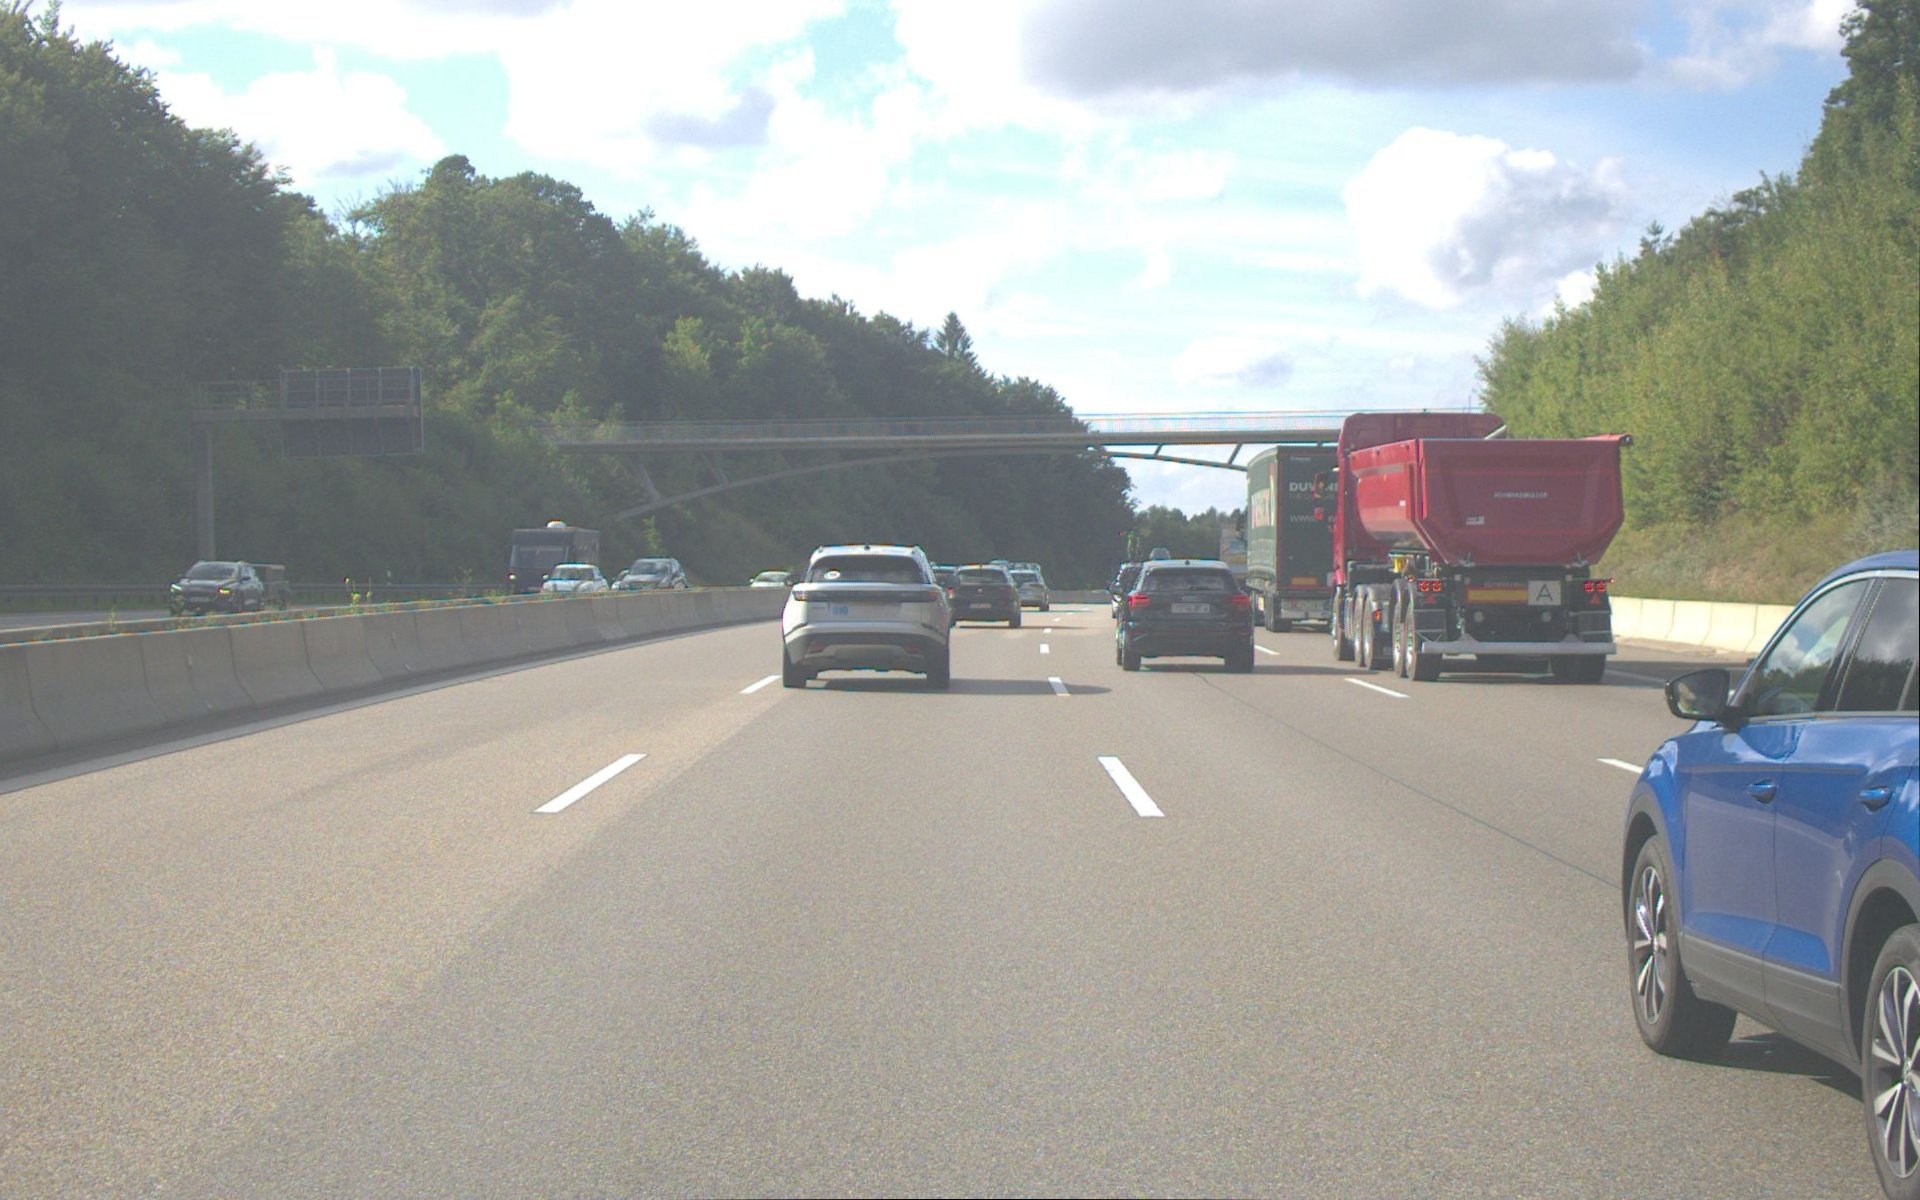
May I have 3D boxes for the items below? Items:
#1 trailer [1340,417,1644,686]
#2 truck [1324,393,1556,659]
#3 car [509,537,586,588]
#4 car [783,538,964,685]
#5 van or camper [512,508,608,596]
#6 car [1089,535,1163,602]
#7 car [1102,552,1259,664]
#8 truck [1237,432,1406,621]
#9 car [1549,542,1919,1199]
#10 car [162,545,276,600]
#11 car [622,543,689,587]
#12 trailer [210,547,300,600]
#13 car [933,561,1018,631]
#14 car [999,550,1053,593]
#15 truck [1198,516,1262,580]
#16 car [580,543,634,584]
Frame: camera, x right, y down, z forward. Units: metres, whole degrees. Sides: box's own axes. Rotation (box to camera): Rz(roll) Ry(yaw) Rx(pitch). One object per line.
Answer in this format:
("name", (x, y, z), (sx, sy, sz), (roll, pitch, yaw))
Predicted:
("trailer", (6.937, -0.667, 46.258), (2.710, 3.220, 9.732), (0, 1, 1))
("truck", (7.044, -1.087, 51.166), (2.710, 3.706, 5.817), (0, 1, 1))
("car", (-12.952, -1.192, 108.127), (1.815, 1.530, 4.316), (0, 1, 1))
("car", (-0.962, 0.079, 41.106), (2.006, 1.610, 5.301), (1, 1, 0))
("van or camper", (-14.626, -1.783, 126.095), (2.559, 3.115, 7.334), (0, 1, 1))
("car", (4.668, -0.915, 97.322), (1.893, 1.850, 4.100), (0, 1, 0))
("car", (3.012, 0.078, 47.597), (1.822, 1.452, 4.000), (0, 1, -1))
("truck", (7.948, -1.616, 76.735), (3.119, 3.921, 10.410), (0, 1, 3))
("car", (2.873, 0.617, 9.029), (1.773, 1.525, 4.458), (-1, 1, -1))
("car", (-19.434, -0.726, 90.334), (1.812, 1.385, 4.937), (0, 1, 1))
("car", (-10.974, -1.267, 124.098), (1.922, 1.534, 4.702), (0, 1, 1))
("trailer", (-19.396, -0.754, 94.681), (1.658, 1.409, 3.710), (0, 1, 1))
("car", (0.385, -0.111, 79.974), (1.822, 1.541, 4.000), (1, 1, 2))
("car", (2.330, -0.998, 120.068), (1.822, 1.452, 4.000), (0, 1, 2))
("truck", (12.627, -2.410, 160.284), (2.845, 2.915, 8.384), (0, 1, 5))
("car", (-15.486, -1.619, 150.986), (1.845, 1.738, 4.259), (0, 1, 1))
